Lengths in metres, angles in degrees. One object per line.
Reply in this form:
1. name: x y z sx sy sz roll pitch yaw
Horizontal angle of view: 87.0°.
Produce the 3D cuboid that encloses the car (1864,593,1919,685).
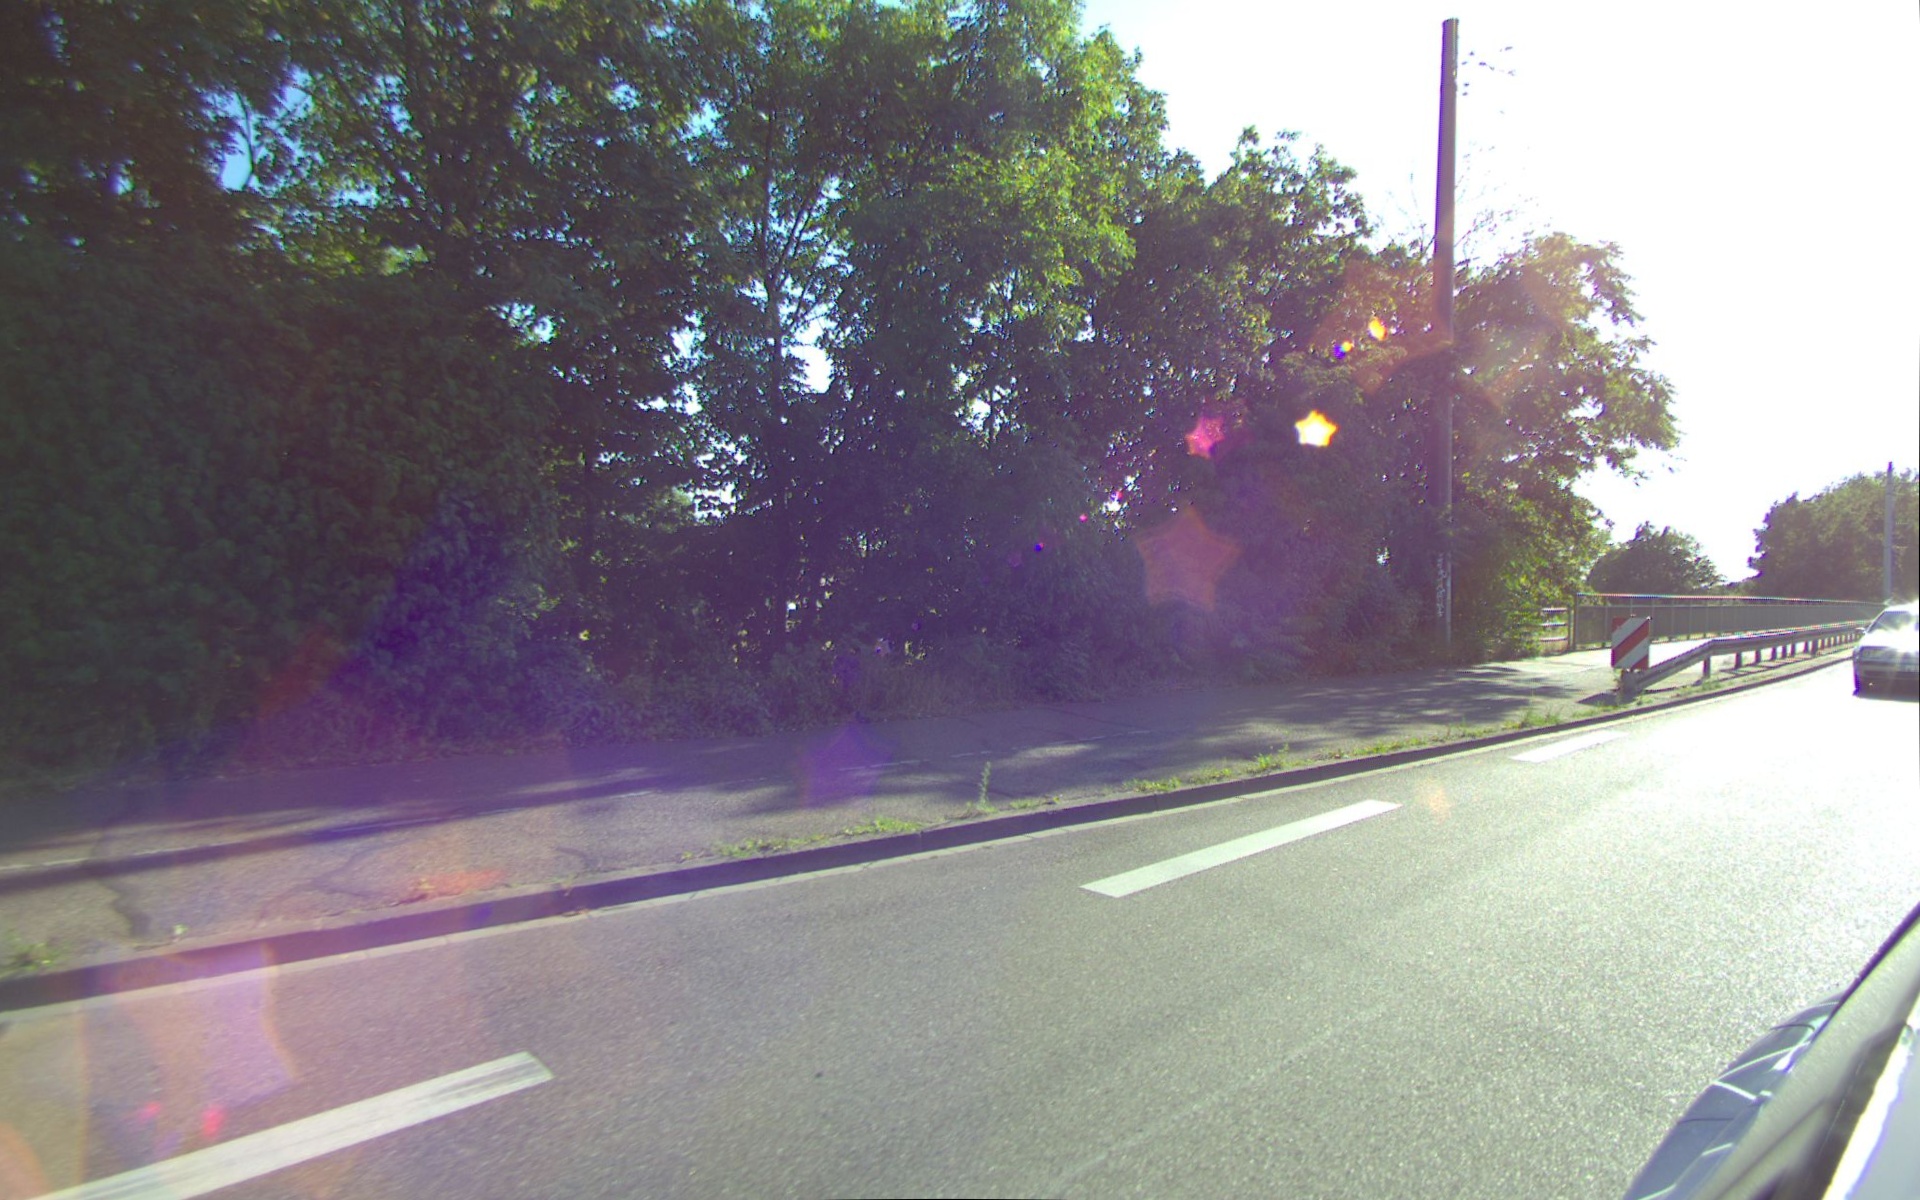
1. car: 16.686 0.600 17.088 4.064 1.435 1.691 -1 1 -42
